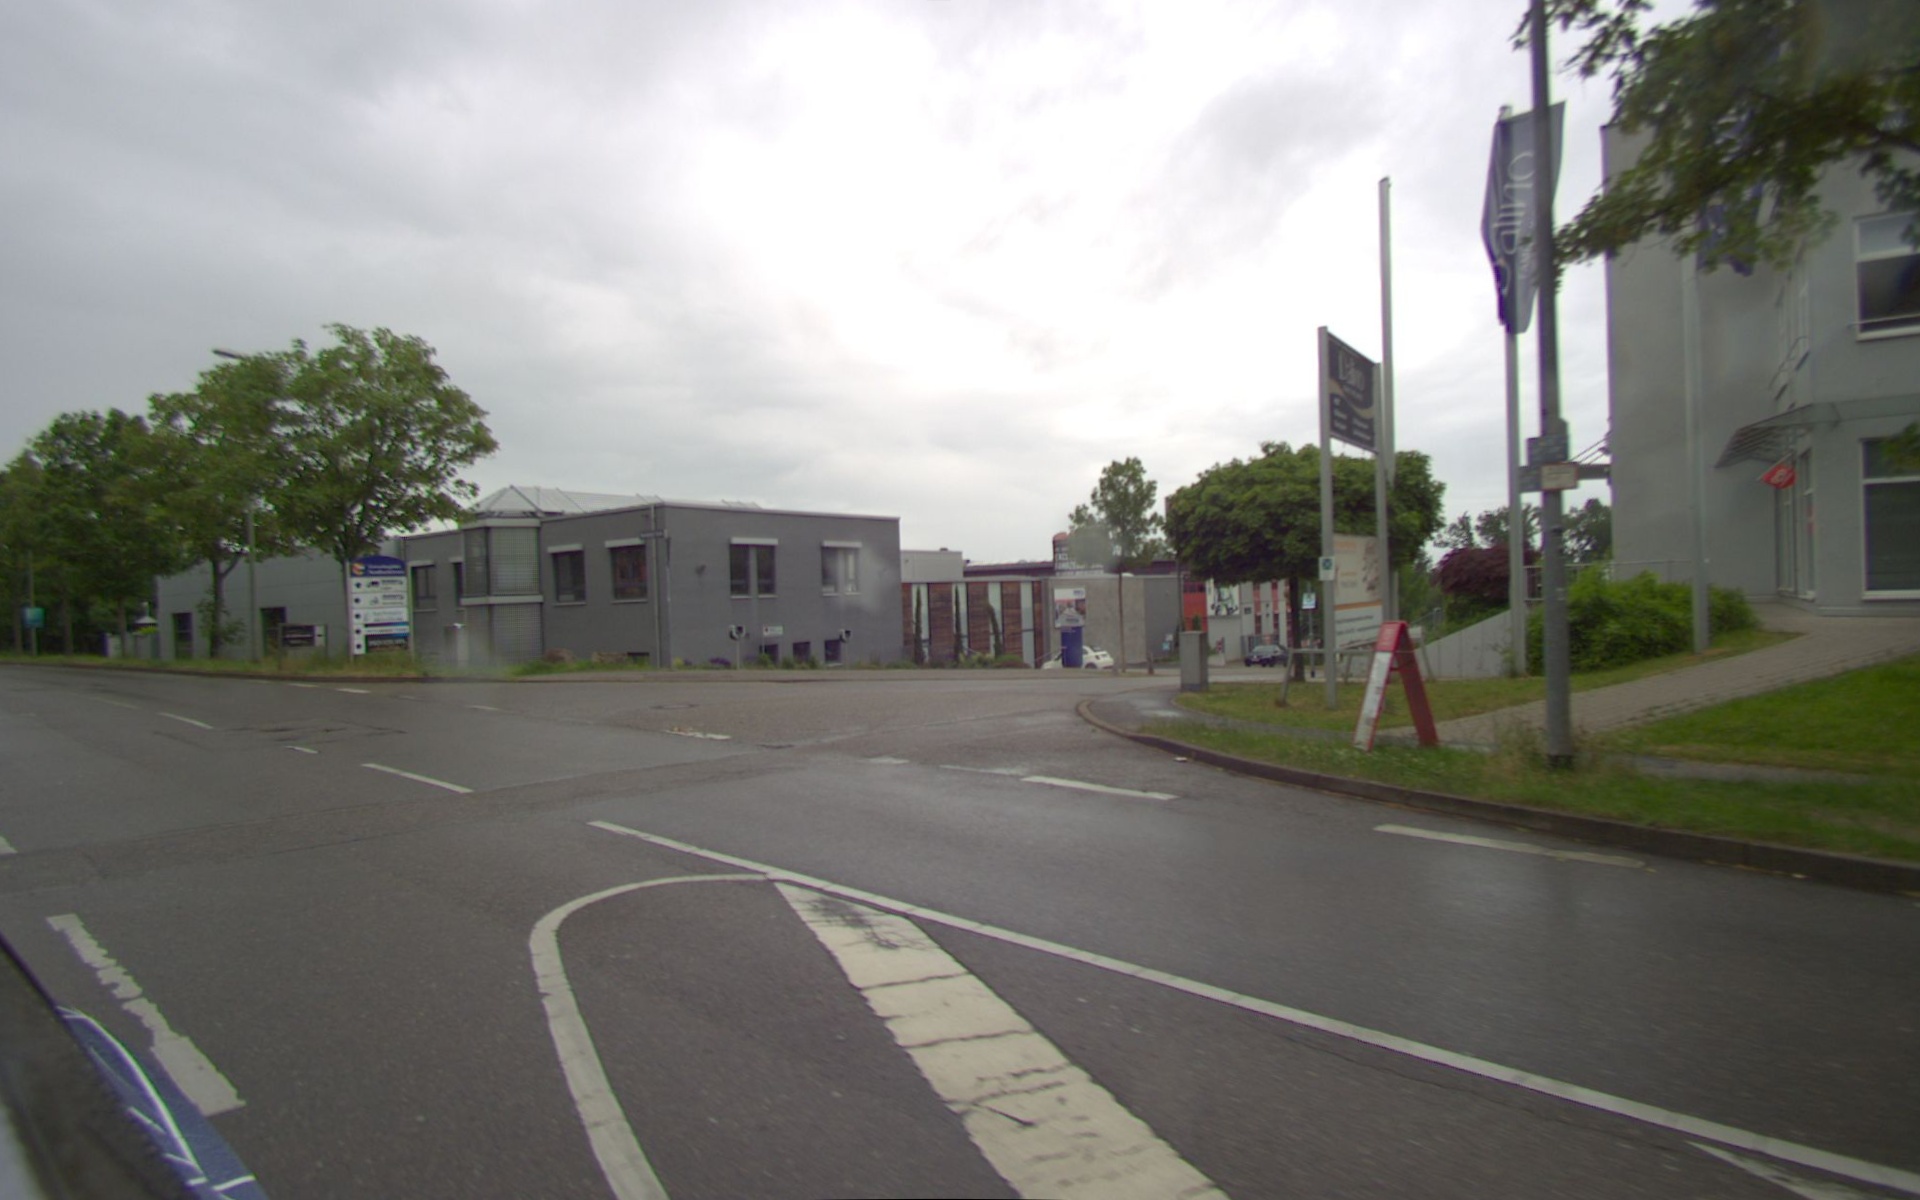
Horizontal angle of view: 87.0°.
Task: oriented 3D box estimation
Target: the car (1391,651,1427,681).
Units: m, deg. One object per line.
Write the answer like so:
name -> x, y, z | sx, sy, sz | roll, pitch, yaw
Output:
car -> 35.637, 5.192, 80.251 | 1.867, 2.162, 3.953 | -1, -2, 35

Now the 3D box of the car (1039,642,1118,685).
car -> 5.541, 2.984, 47.357 | 3.196, 1.565, 1.489 | -13, -9, 35

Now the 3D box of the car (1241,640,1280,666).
car -> 18.940, 3.329, 63.709 | 1.489, 1.533, 3.468 | -1, -2, 31
